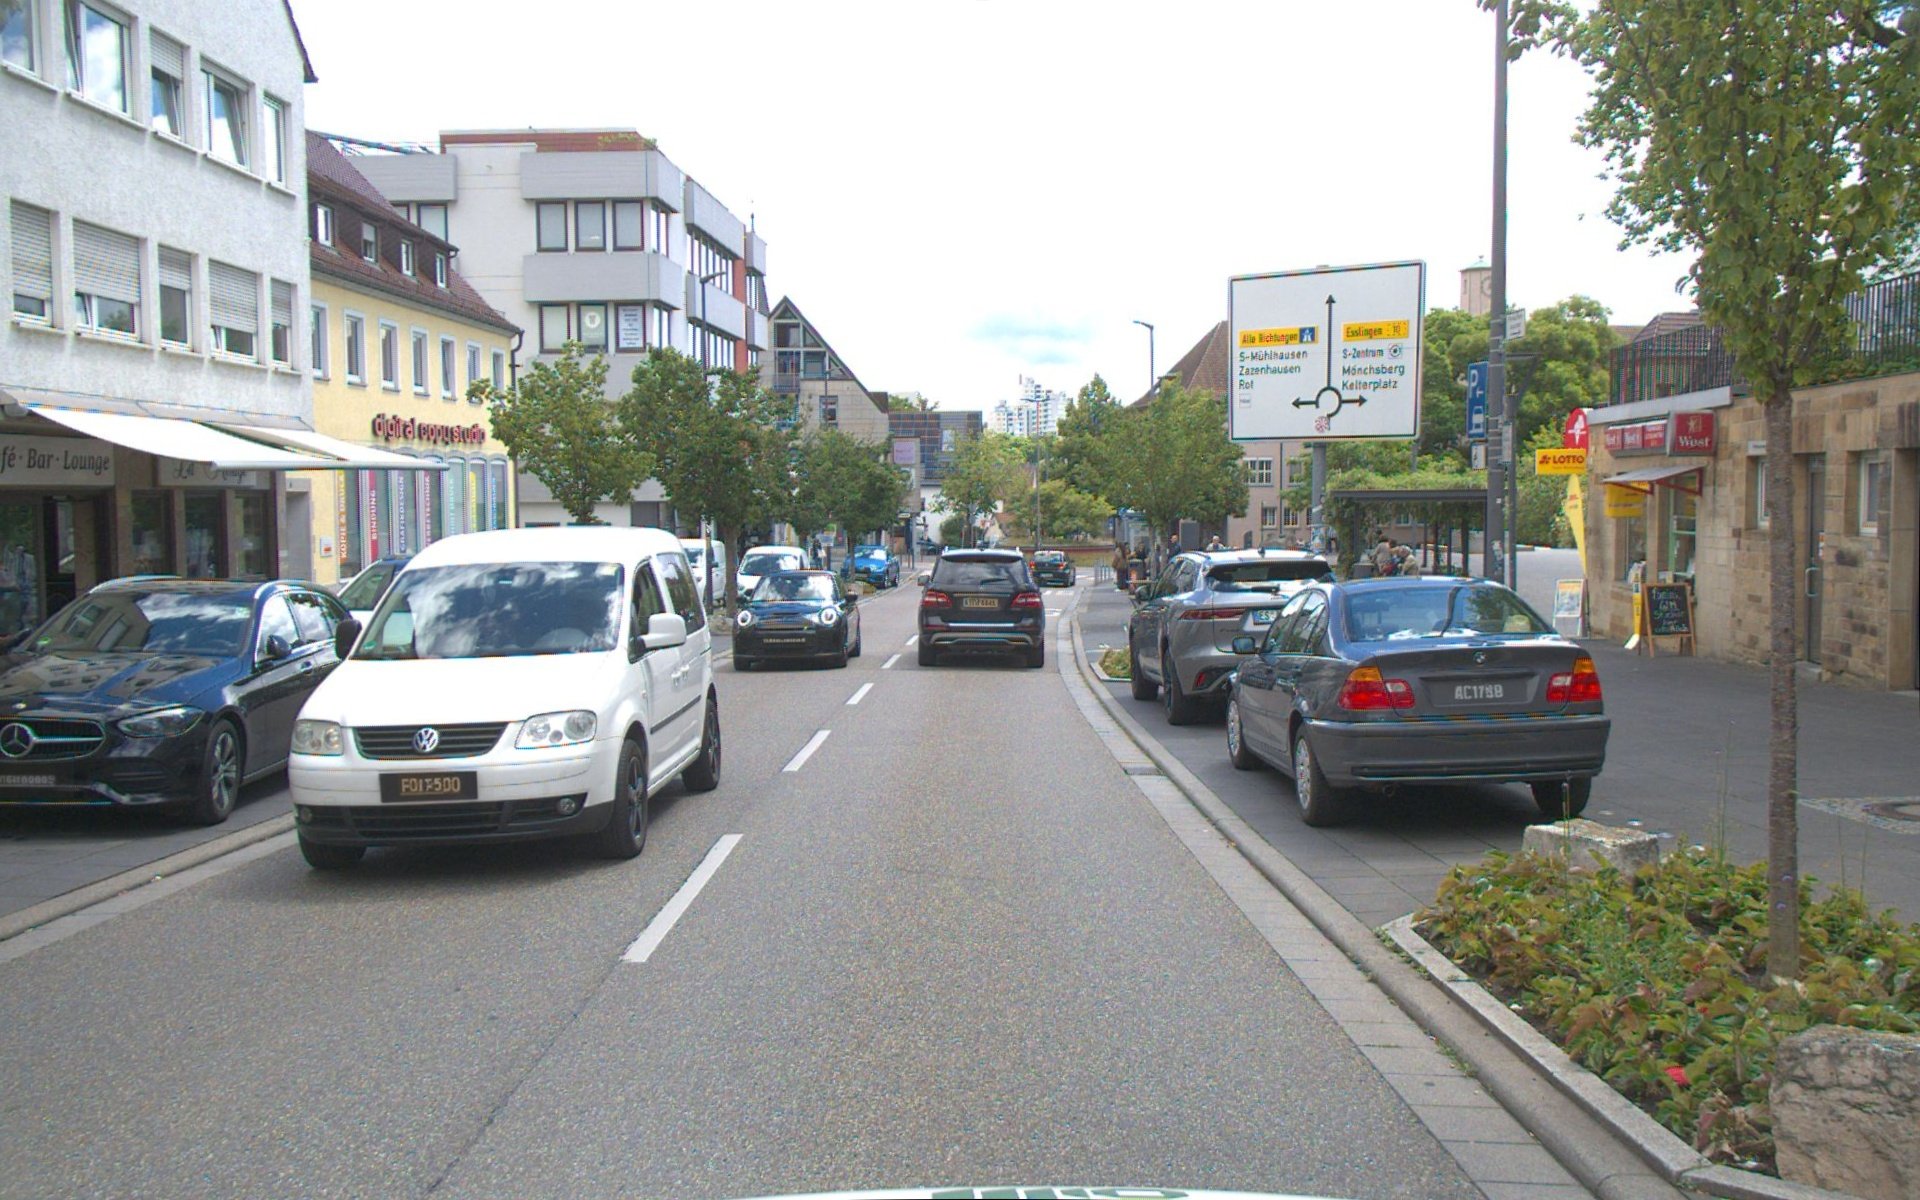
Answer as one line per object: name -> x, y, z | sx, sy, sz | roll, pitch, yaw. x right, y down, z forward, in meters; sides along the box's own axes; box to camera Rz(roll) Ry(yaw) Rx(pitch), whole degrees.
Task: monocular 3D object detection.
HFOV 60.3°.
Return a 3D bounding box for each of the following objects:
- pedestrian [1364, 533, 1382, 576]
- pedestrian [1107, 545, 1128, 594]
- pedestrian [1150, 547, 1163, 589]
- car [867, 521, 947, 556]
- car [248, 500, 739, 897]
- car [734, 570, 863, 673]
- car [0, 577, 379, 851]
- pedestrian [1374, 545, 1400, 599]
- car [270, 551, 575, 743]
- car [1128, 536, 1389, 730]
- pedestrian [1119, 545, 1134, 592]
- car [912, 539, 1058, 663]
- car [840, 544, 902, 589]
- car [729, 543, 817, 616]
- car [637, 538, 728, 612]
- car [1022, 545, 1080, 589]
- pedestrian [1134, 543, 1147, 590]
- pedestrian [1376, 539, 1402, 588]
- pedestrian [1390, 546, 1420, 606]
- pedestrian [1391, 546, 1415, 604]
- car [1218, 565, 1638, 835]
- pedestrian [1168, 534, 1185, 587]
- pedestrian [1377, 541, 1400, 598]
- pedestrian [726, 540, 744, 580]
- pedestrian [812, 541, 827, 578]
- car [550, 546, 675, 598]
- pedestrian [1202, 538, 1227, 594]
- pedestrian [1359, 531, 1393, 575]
pedestrian -> 13.297, -1.466, 53.224 | 0.555, 1.346, 0.546 | 1, 2, 14
pedestrian -> 5.165, -1.007, 54.303 | 0.503, 1.576, 0.486 | 0, 2, 30
pedestrian -> 6.454, -1.051, 54.261 | 0.381, 1.328, 0.355 | -2, 2, 6
car -> -4.367, -5.007, 136.126 | 6.185, 2.604, 2.196 | 1, -1, -17
car -> -2.514, 0.444, 10.029 | 1.711, 1.834, 4.212 | -2, 1, 0
car -> -2.420, 0.275, 25.543 | 1.574, 1.412, 3.629 | -2, 1, 0
car -> -5.455, 0.597, 11.248 | 1.804, 1.476, 4.510 | 1, 1, -6
pedestrian -> 10.488, -0.694, 40.641 | 0.556, 1.283, 0.542 | -1, 4, 8
car -> -5.257, 0.369, 16.742 | 1.631, 1.675, 4.135 | 1, 1, 1
car -> 2.962, 0.248, 17.415 | 1.889, 1.754, 4.574 | -1, 1, 0
pedestrian -> 5.718, -1.074, 56.712 | 0.489, 1.593, 0.498 | -1, 2, 7
car -> 0.297, 0.008, 25.911 | 1.987, 1.757, 4.431 | 1, 0, -3
car -> -3.437, -1.344, 64.514 | 1.658, 1.627, 4.336 | 3, 2, 6
car -> -4.589, -0.554, 41.059 | 1.622, 1.701, 4.352 | 1, 2, 1
car -> -7.319, -0.708, 44.004 | 1.721, 1.845, 4.476 | 1, 2, -1
car -> 3.733, -1.367, 66.923 | 2.009, 1.615, 4.377 | 3, 2, 7
pedestrian -> 6.184, -1.152, 56.690 | 0.385, 1.593, 0.352 | -1, 2, 8
pedestrian -> 11.762, -1.008, 45.339 | 0.610, 1.330, 0.546 | -1, 2, 8
pedestrian -> 10.399, -0.567, 38.646 | 0.603, 1.343, 0.586 | -1, 4, 7
pedestrian -> 10.510, -0.602, 39.275 | 0.484, 1.343, 0.576 | -1, 4, 8
car -> 2.873, 0.546, 11.137 | 1.646, 1.441, 4.372 | -1, 0, 1
pedestrian -> 7.092, -1.286, 54.213 | 0.500, 1.709, 0.577 | -1, 2, 4
pedestrian -> 10.345, -0.738, 39.944 | 0.487, 1.343, 0.525 | -1, 4, 9
pedestrian -> -9.159, -1.636, 67.269 | 0.575, 1.593, 0.642 | -2, 2, -16
pedestrian -> -6.341, -1.836, 74.695 | 0.574, 1.615, 0.639 | 1, 2, 5
car -> -10.740, -0.877, 51.261 | 3.555, 1.585, 1.668 | 0, 2, -3
pedestrian -> 7.877, -1.065, 51.147 | 0.670, 1.711, 0.715 | 0, 2, 15
pedestrian -> 12.427, -1.407, 49.449 | 0.757, 1.291, 0.673 | 2, 3, 41
